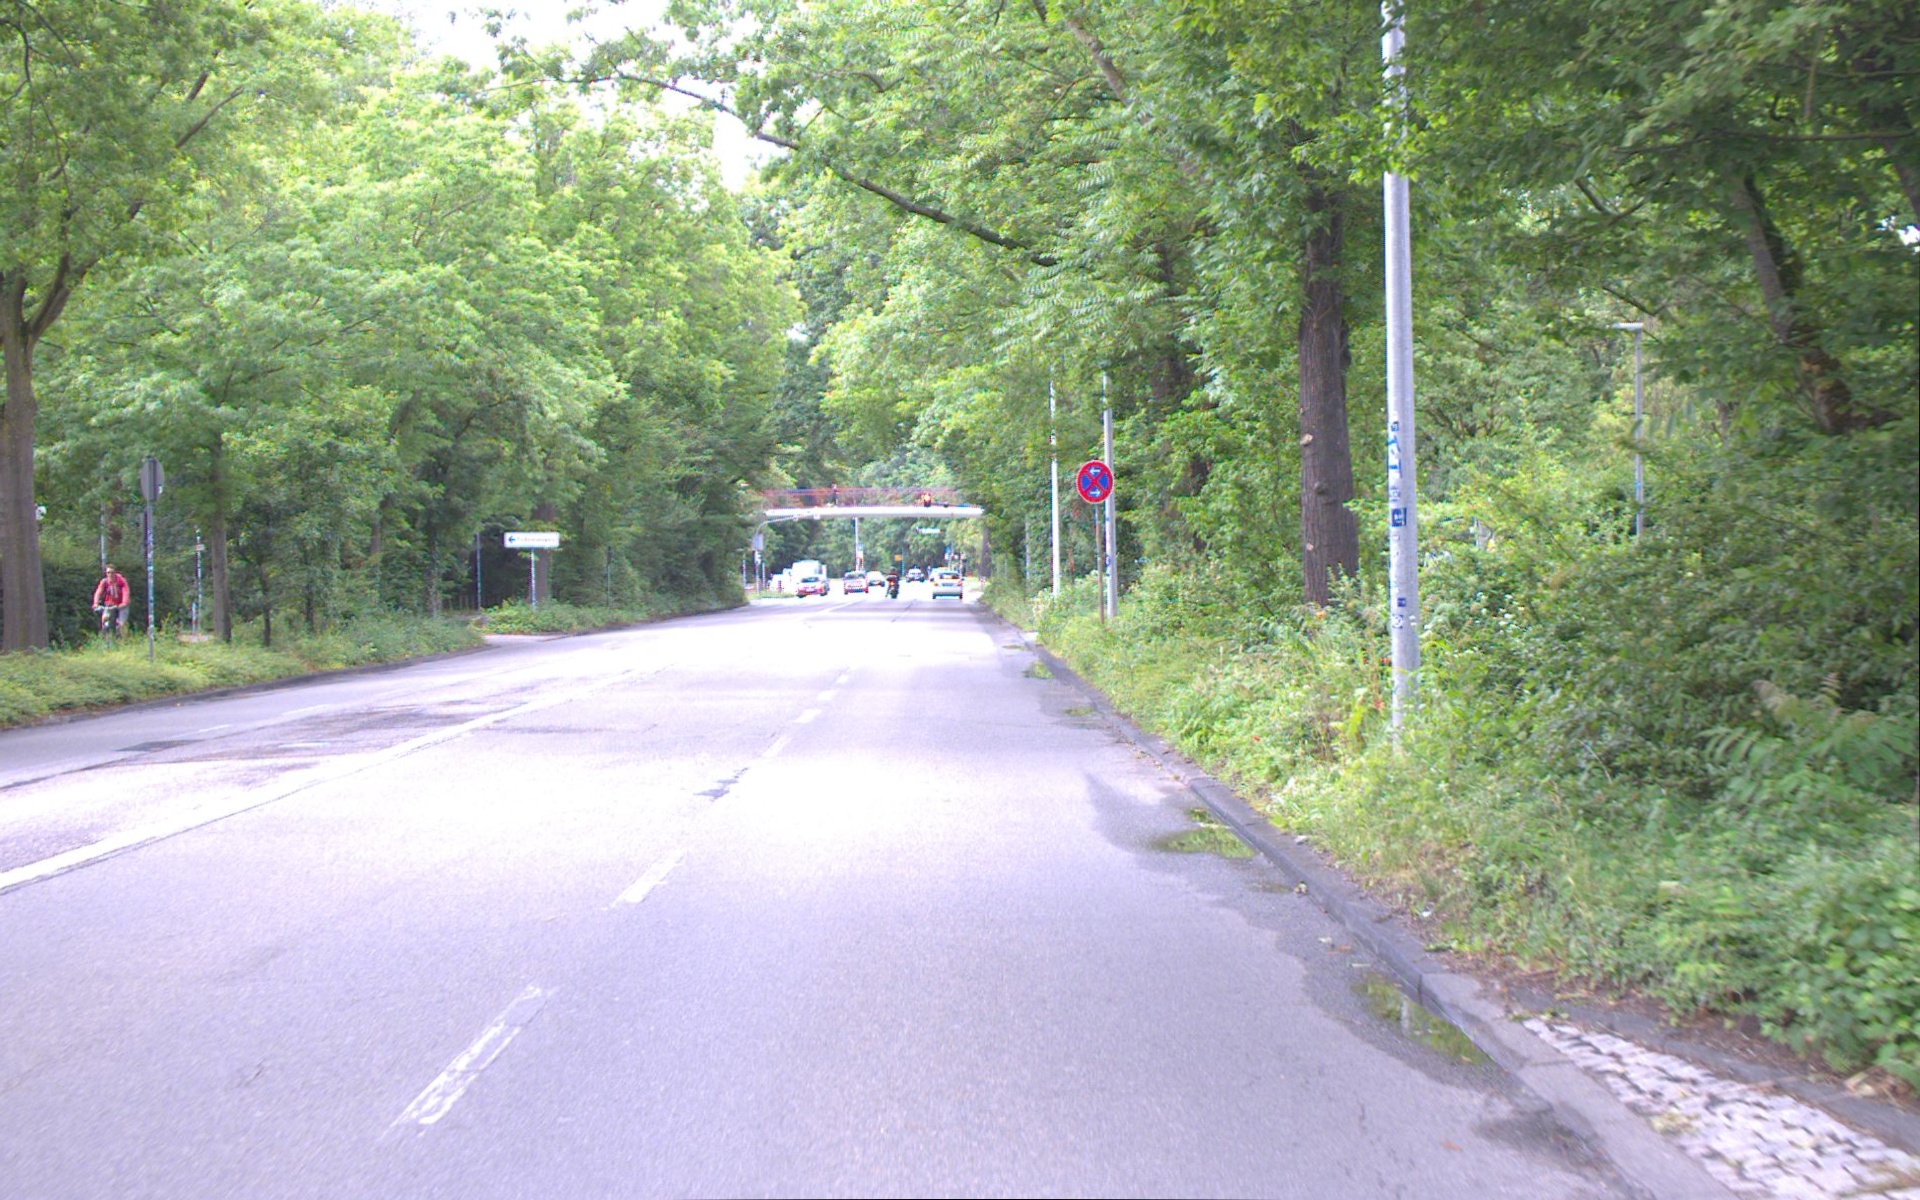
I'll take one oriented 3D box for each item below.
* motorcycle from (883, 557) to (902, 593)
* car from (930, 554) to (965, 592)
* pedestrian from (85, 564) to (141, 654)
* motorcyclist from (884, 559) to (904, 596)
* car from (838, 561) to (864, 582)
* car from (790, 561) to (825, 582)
[{"bbox_3d":[-3.668,-1.376,187.682,0.990,1.929,2.669,0,1,0],"label":"motorcycle"},{"bbox_3d":[-0.648,-1.446,183.913,1.843,2.007,4.000,0,1,0],"label":"car"},{"bbox_3d":[-15.282,0.149,62.056,0.792,1.608,0.848,0,1,0],"label":"pedestrian"},{"bbox_3d":[-3.580,-1.248,187.618,1.063,2.007,0.843,0,1,0],"label":"motorcyclist"},{"bbox_3d":[-7.296,-1.938,231.017,1.674,1.357,3.921,0,1,-1],"label":"car"},{"bbox_3d":[-10.228,-1.937,230.900,1.994,1.349,3.894,0,1,3],"label":"car"}]
